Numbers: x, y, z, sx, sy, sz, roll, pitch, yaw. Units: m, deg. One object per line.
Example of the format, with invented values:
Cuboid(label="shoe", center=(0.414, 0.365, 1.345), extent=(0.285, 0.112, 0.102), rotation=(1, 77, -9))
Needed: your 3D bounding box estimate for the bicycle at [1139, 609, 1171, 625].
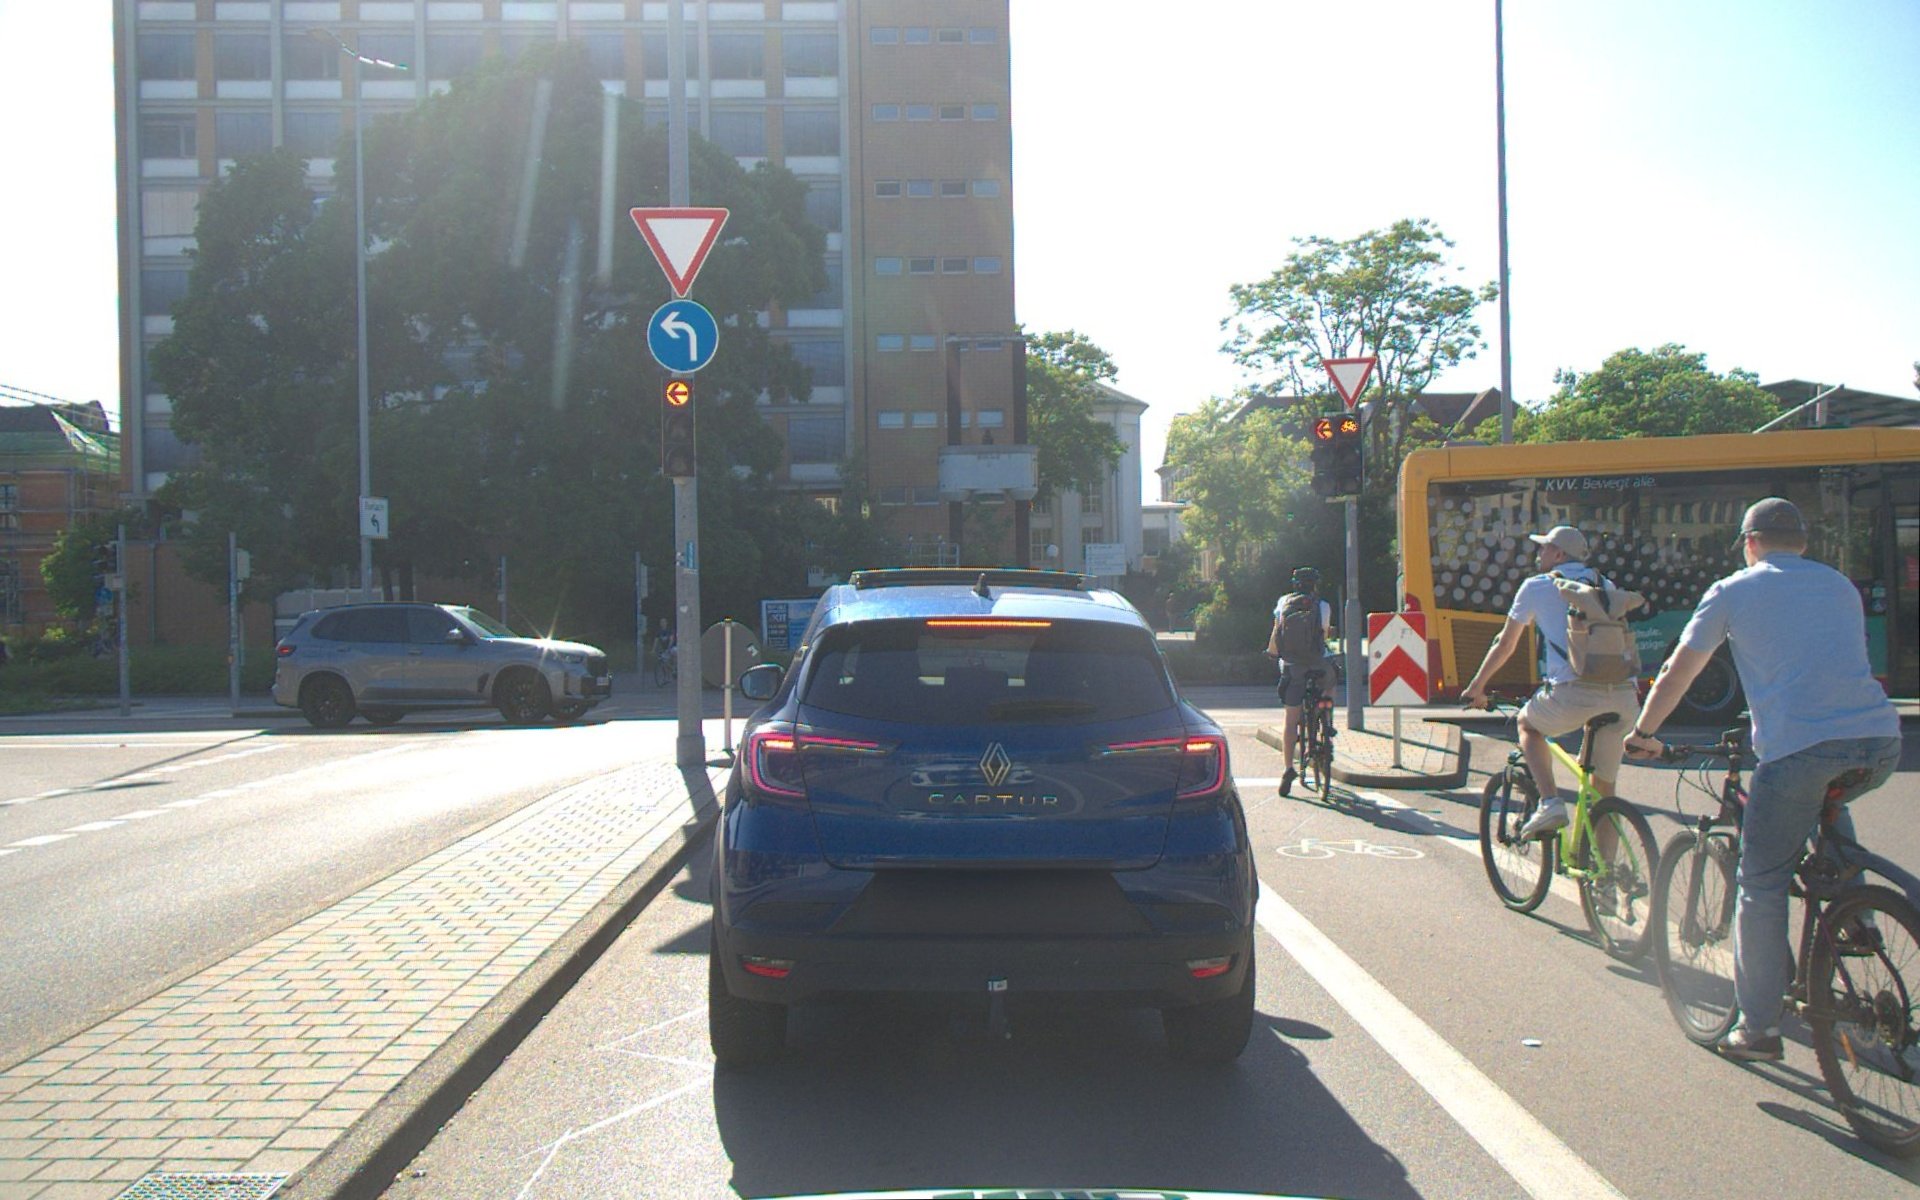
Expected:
Cuboid(label="bicycle", center=(11.194, 0.977, 94.997), extent=(1.735, 0.914, 0.765), rotation=(-1, 0, -1))

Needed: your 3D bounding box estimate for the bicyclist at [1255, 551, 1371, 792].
Cuboid(label="bicyclist", center=(2.761, 0.542, 13.003), extent=(0.663, 1.816, 0.939), rotation=(1, -1, -2))

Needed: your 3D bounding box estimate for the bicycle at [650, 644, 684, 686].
Cuboid(label="bicycle", center=(-7.739, 1.724, 43.630), extent=(0.687, 1.025, 1.860), rotation=(-1, -3, -16))

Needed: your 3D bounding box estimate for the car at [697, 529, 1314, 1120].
Cuboid(label="car", center=(0.080, 0.638, 6.671), extent=(1.758, 1.684, 3.852), rotation=(1, 0, -2))

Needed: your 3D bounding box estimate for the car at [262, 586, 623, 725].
Cuboid(label="car", center=(-7.549, 0.796, 24.365), extent=(4.626, 1.893, 2.006), rotation=(-1, 0, 8))

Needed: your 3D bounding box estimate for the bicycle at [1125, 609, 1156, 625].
Cuboid(label="bicycle", center=(10.847, 1.008, 99.356), extent=(1.735, 0.908, 0.765), rotation=(-1, 0, -1))

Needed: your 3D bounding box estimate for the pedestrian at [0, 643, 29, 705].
Cuboid(label="pedestrian", center=(-32.541, 2.507, 56.440), extent=(0.807, 2.049, 1.014), rotation=(-1, 0, 23))

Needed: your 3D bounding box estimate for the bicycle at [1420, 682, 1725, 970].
Cuboid(label="bicycle", center=(2.742, 0.962, 7.627), extent=(0.657, 1.069, 1.843), rotation=(1, 0, -2))

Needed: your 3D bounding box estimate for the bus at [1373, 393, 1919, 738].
Cuboid(label="bus", center=(11.049, -0.386, 18.911), extent=(12.157, 3.633, 3.253), rotation=(-1, 0, 13))

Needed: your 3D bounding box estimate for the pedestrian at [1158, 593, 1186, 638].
Cuboid(label="pedestrian", center=(9.893, 0.705, 77.294), extent=(1.132, 2.049, 1.164), rotation=(-1, 0, -1))

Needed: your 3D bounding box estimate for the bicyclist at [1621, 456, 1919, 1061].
Cuboid(label="bicyclist", center=(2.607, 0.444, 5.122), extent=(0.725, 1.703, 0.865), rotation=(-1, 0, -3))

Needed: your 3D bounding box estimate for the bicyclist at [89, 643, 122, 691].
Cuboid(label="bicyclist", center=(-26.344, 2.068, 51.019), extent=(0.624, 1.437, 0.648), rotation=(-1, 0, 25))

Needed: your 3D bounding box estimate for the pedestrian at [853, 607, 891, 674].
Cuboid(label="pedestrian", center=(-2.514, 1.148, 47.284), extent=(0.912, 1.888, 0.808), rotation=(-1, 0, 8))

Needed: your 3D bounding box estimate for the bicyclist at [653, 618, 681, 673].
Cuboid(label="bicyclist", center=(-7.748, 1.200, 43.660), extent=(0.637, 1.437, 0.635), rotation=(-1, -3, -17))

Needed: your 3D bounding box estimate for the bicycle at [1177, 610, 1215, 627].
Cuboid(label="bicycle", center=(11.851, 0.926, 83.206), extent=(1.739, 0.837, 0.763), rotation=(-1, 0, -11))

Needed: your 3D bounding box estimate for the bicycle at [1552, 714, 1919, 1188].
Cuboid(label="bicycle", center=(2.611, 0.967, 5.216), extent=(0.732, 1.069, 1.902), rotation=(-1, 0, -2))

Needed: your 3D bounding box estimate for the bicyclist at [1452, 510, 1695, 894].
Cuboid(label="bicyclist", center=(2.752, 0.433, 7.525), extent=(0.660, 1.610, 1.081), rotation=(1, 0, -2))

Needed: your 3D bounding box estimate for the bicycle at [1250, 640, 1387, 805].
Cuboid(label="bicycle", center=(2.773, 0.913, 12.962), extent=(0.602, 1.158, 1.825), rotation=(0, 0, -2))

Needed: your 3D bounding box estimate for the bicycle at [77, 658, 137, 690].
Cuboid(label="bicycle", center=(-26.309, 2.283, 51.028), extent=(1.827, 0.975, 0.623), rotation=(-1, 0, 24))
